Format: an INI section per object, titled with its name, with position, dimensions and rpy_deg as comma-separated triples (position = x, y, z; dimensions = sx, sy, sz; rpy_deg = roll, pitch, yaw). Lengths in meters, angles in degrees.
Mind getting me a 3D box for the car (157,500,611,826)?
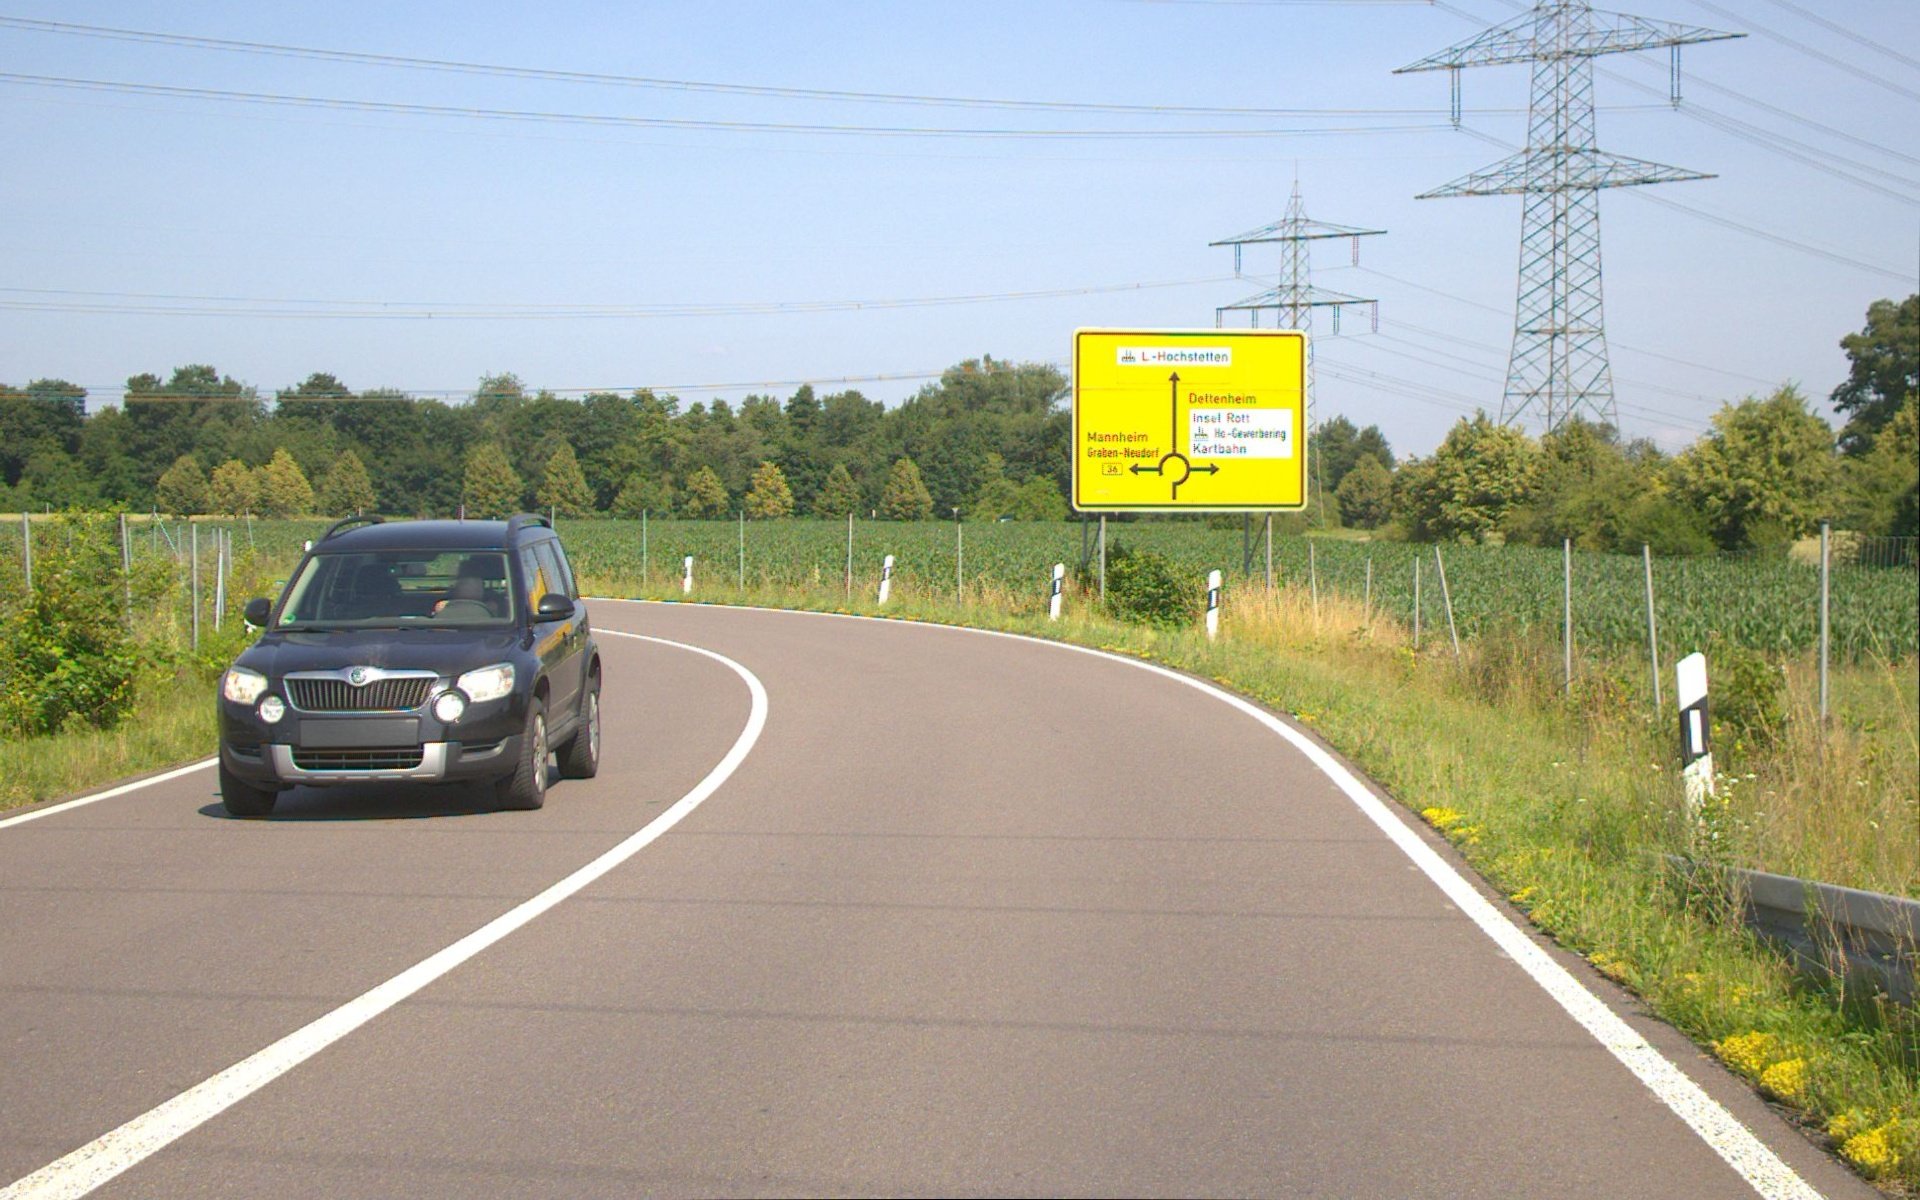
[car]
position = -3.314, 0.300, 20.630
dimensions = 1.983, 1.700, 4.262
rpy_deg = -2, 1, 0
